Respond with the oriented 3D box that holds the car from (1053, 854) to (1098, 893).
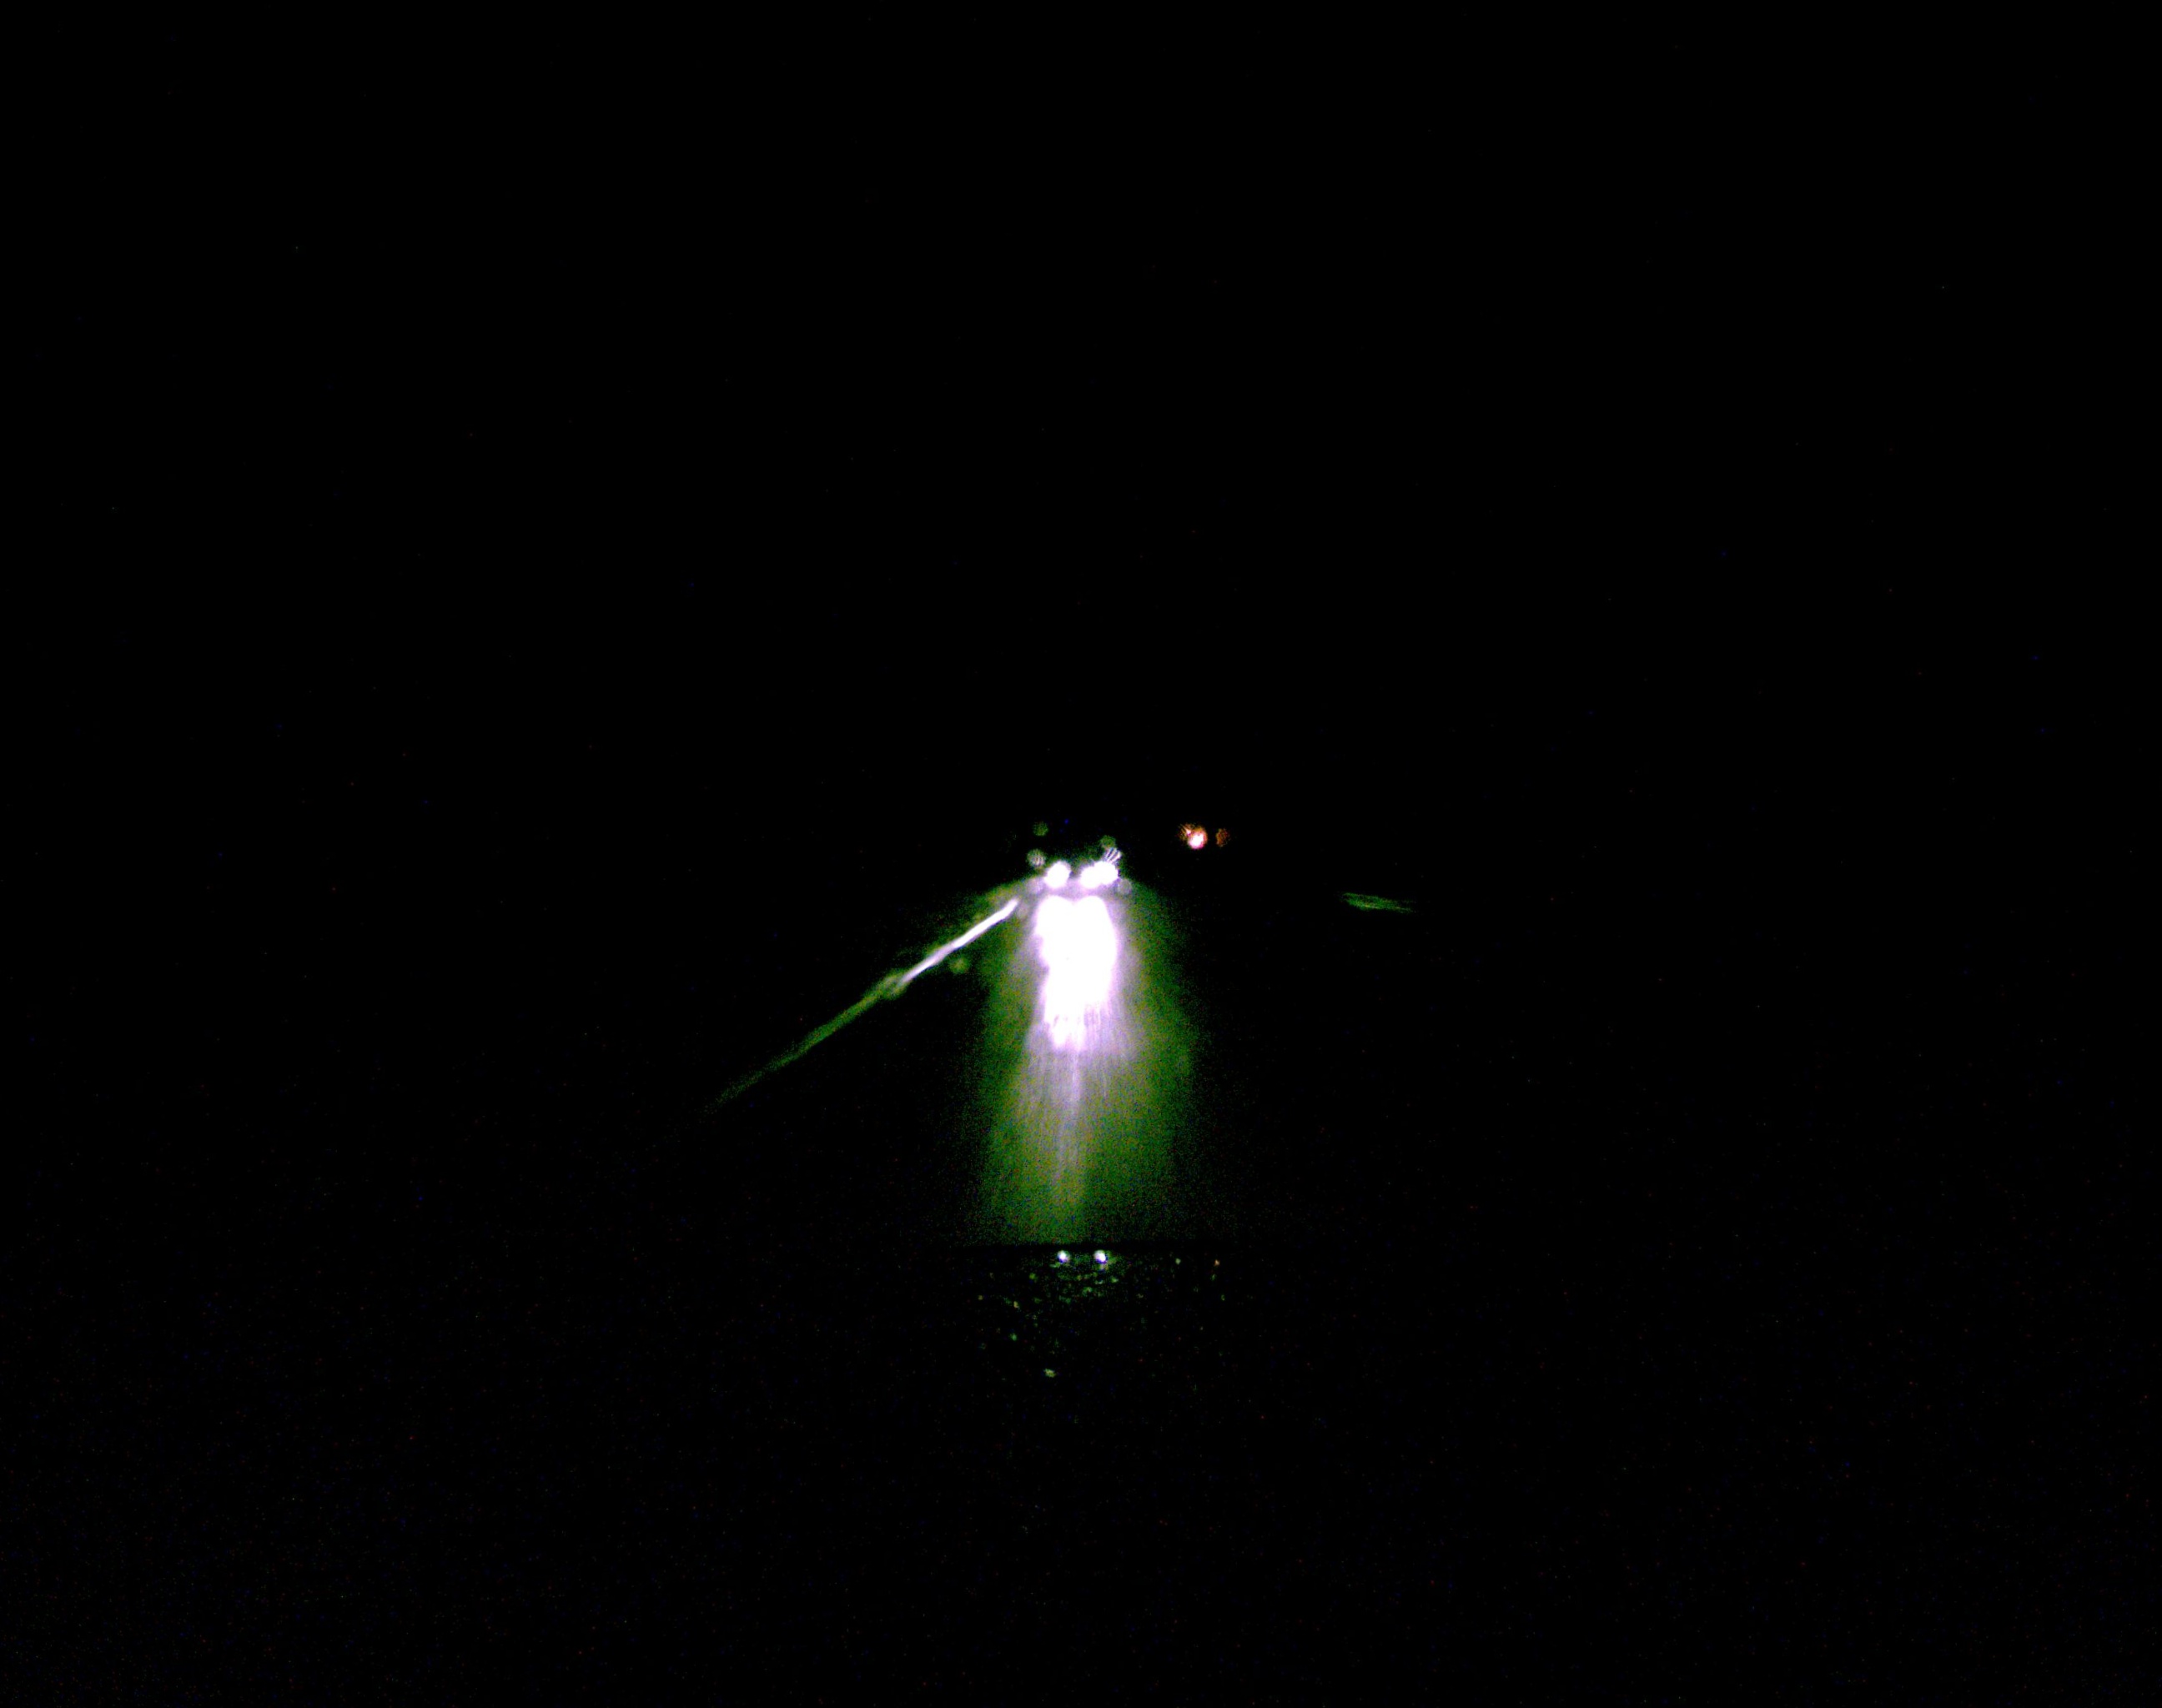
[{"bbox_3d":[-0.262,0.831,32.898,1.793,1.593,4.000,0,-1,-1],"label":"car"}]
